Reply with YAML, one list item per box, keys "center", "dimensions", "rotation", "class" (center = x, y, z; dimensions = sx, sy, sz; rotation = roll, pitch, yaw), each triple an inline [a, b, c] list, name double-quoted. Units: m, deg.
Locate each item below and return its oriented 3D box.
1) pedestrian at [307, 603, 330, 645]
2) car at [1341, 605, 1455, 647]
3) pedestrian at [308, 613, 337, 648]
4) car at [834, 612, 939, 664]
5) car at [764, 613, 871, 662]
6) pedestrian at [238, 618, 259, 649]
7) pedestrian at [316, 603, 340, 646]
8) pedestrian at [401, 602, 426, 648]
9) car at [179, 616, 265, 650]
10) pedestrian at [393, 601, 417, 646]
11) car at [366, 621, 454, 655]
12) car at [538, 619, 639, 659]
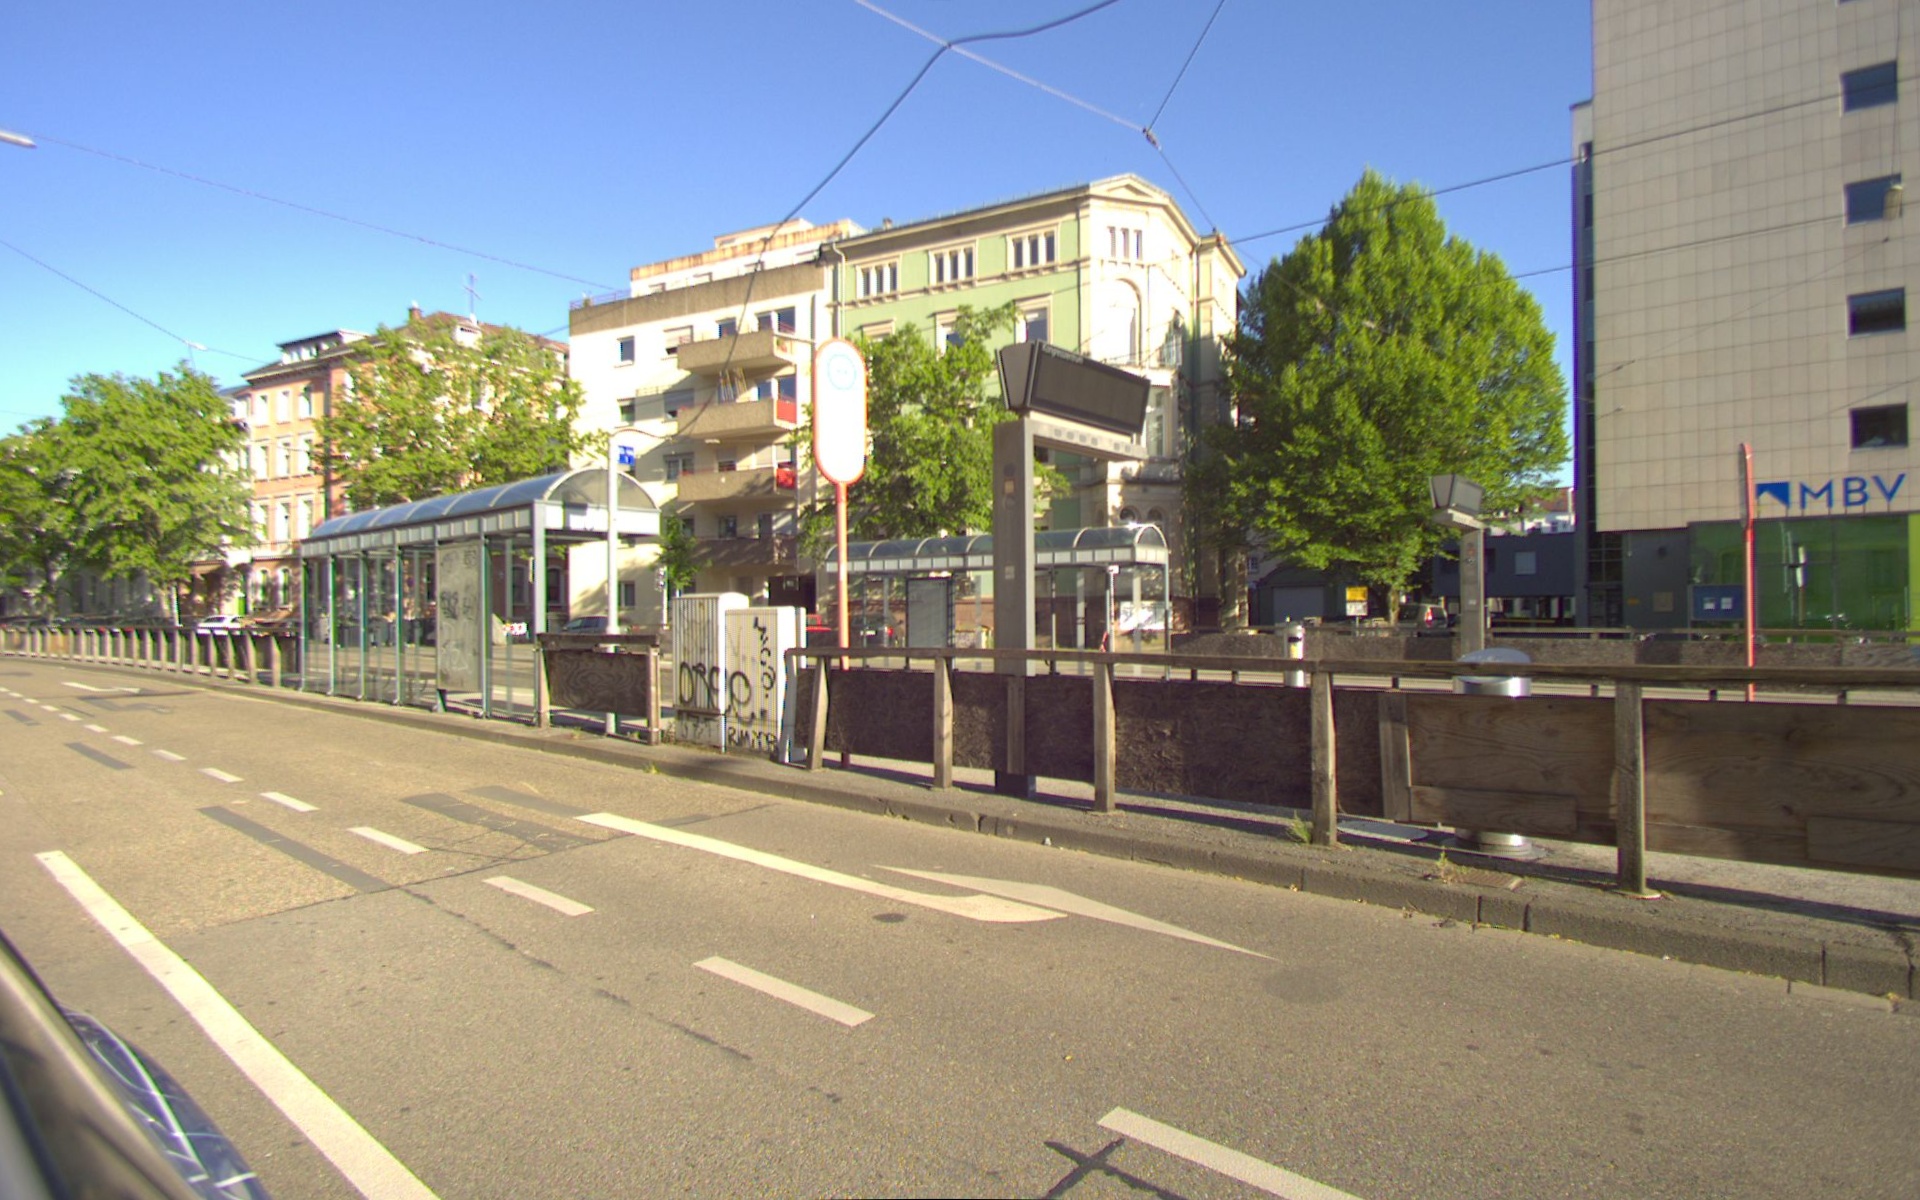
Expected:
- center: [-34.174, 1.274, 53.876]
  dimensions: [0.755, 2.224, 0.803]
  rotation: [-1, -2, 36]
  class: "pedestrian"
- center: [15.736, 0.904, 36.457]
  dimensions: [1.544, 1.423, 3.430]
  rotation: [-1, 0, -38]
  class: "car"
- center: [-31.879, 1.520, 50.587]
  dimensions: [1.016, 1.733, 0.846]
  rotation: [-1, -2, 32]
  class: "pedestrian"
- center: [-2.361, 1.218, 33.552]
  dimensions: [1.754, 1.594, 3.965]
  rotation: [-1, -1, 26]
  class: "car"
- center: [-4.795, 1.250, 34.600]
  dimensions: [1.754, 1.594, 3.965]
  rotation: [-1, -1, 26]
  class: "car"
- center: [-37.359, 1.756, 53.162]
  dimensions: [0.854, 1.641, 0.894]
  rotation: [1, -2, -37]
  class: "pedestrian"
- center: [-33.004, 1.259, 52.837]
  dimensions: [0.753, 2.224, 0.804]
  rotation: [-1, -2, 30]
  class: "pedestrian"
- center: [-27.047, 1.233, 50.128]
  dimensions: [0.753, 2.224, 0.804]
  rotation: [-1, -2, 30]
  class: "pedestrian"
- center: [-39.521, 1.752, 54.303]
  dimensions: [1.825, 1.721, 4.130]
  rotation: [0, -1, -5]
  class: "car"
- center: [-27.838, 1.191, 50.777]
  dimensions: [0.753, 2.224, 0.804]
  rotation: [-1, -2, 30]
  class: "pedestrian"
- center: [-23.728, 1.624, 43.644]
  dimensions: [3.986, 1.407, 1.592]
  rotation: [-1, -2, 32]
  class: "car"
- center: [-14.192, 1.470, 38.618]
  dimensions: [3.725, 1.438, 1.637]
  rotation: [-1, -1, 29]
  class: "car"
